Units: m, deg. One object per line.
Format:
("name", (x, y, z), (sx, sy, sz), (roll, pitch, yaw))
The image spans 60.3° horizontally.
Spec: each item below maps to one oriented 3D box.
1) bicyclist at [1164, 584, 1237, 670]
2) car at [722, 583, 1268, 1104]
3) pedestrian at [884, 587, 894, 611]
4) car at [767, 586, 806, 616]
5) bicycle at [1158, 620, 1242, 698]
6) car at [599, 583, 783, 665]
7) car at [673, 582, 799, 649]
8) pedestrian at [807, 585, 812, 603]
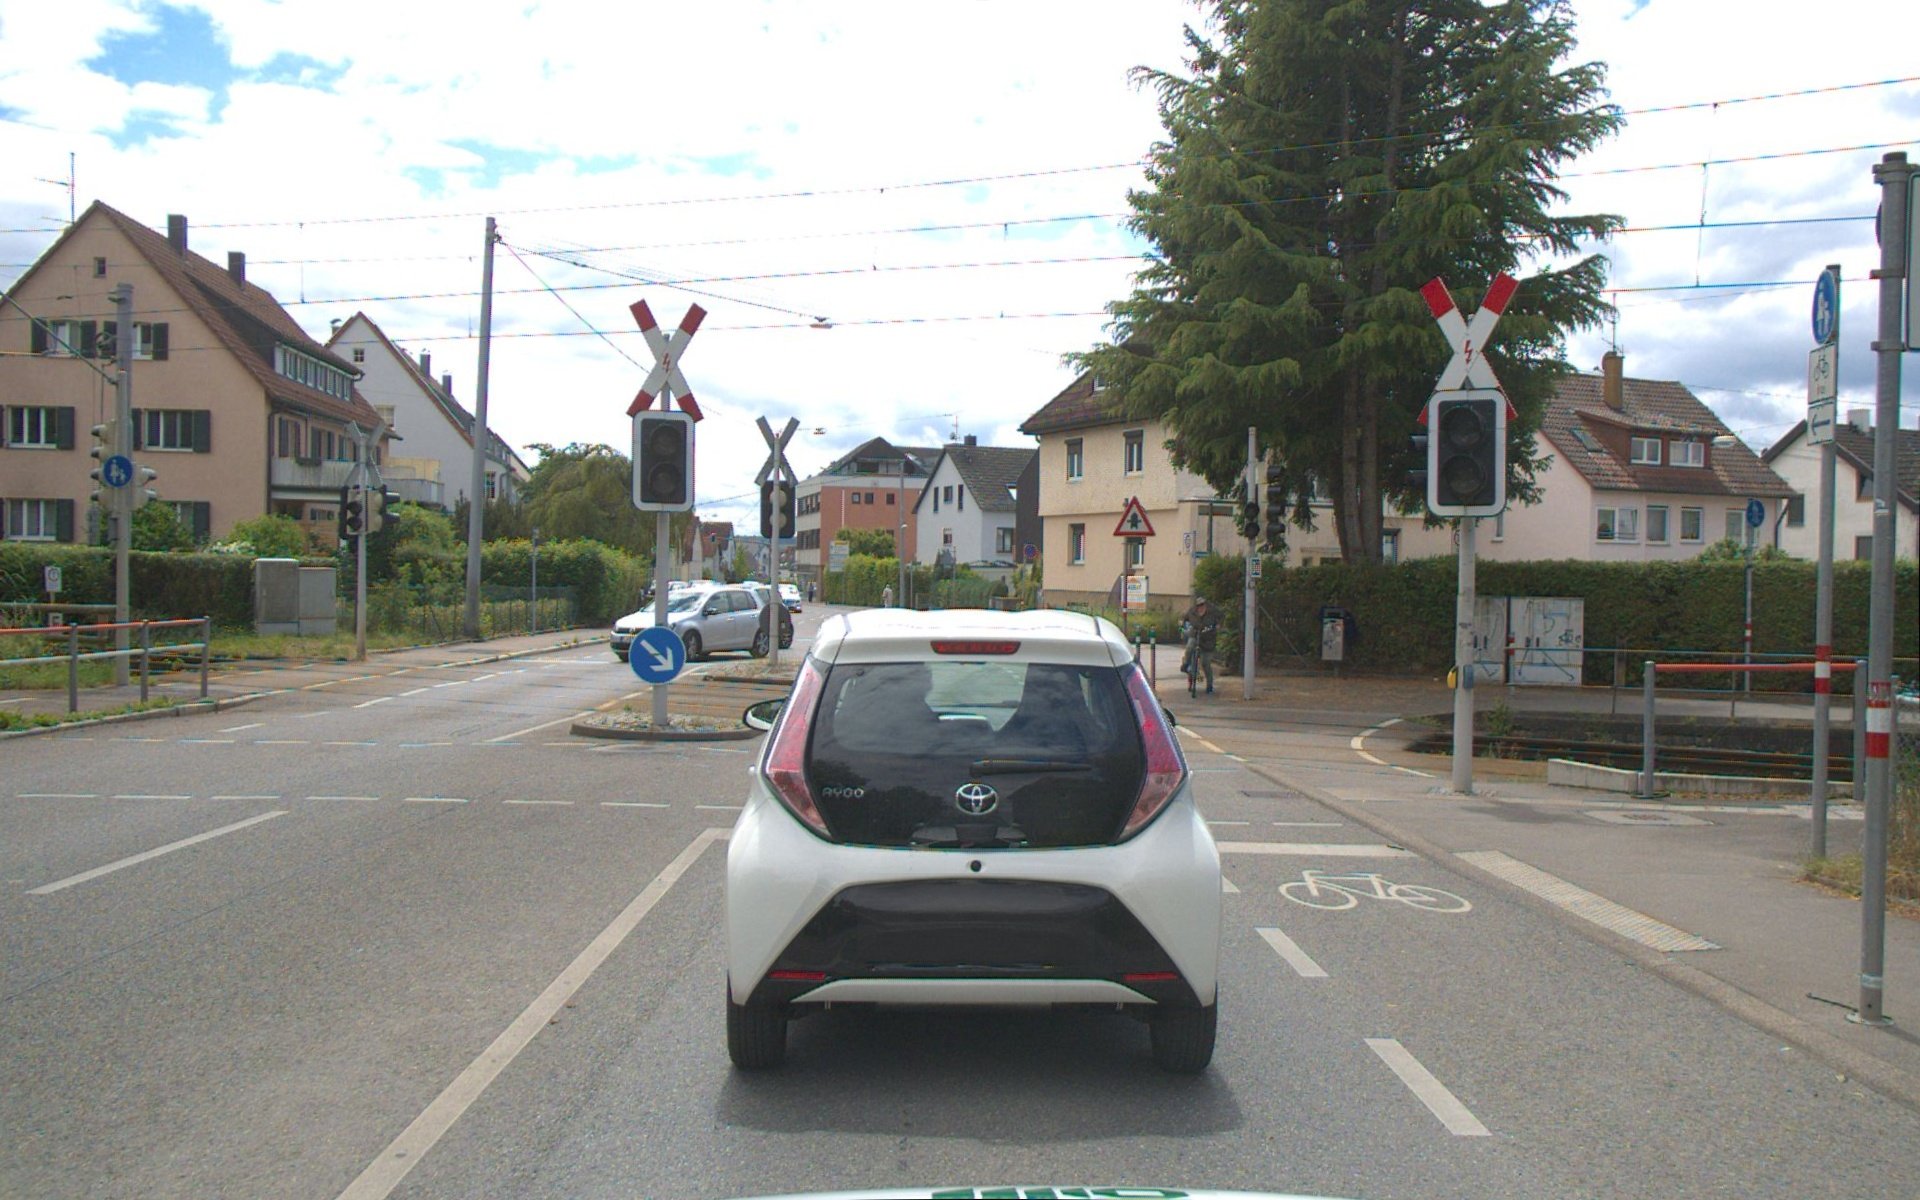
("bicyclist", (3.776, 0.405, 25.935), (0.912, 1.269, 1.103), (0, 2, 21))
("car", (0.077, 0.724, 6.843), (1.588, 1.512, 3.999), (1, 0, -1))
("pedestrian", (-4.442, -0.075, 102.790), (0.434, 1.463, 0.408), (1, 1, -41))
("car", (-9.740, 0.037, 92.519), (1.744, 1.589, 4.157), (1, 1, -12))
("bicycle", (3.775, 0.901, 25.918), (0.912, 1.058, 1.916), (0, 2, 20))
("car", (-5.482, 0.439, 34.196), (1.656, 1.483, 4.064), (2, 2, 28))
("car", (-5.440, 0.361, 40.398), (1.549, 1.536, 2.776), (1, 1, 37))
("pedestrian", (-12.529, -0.495, 137.770), (0.406, 1.463, 0.436), (1, 0, -11))
